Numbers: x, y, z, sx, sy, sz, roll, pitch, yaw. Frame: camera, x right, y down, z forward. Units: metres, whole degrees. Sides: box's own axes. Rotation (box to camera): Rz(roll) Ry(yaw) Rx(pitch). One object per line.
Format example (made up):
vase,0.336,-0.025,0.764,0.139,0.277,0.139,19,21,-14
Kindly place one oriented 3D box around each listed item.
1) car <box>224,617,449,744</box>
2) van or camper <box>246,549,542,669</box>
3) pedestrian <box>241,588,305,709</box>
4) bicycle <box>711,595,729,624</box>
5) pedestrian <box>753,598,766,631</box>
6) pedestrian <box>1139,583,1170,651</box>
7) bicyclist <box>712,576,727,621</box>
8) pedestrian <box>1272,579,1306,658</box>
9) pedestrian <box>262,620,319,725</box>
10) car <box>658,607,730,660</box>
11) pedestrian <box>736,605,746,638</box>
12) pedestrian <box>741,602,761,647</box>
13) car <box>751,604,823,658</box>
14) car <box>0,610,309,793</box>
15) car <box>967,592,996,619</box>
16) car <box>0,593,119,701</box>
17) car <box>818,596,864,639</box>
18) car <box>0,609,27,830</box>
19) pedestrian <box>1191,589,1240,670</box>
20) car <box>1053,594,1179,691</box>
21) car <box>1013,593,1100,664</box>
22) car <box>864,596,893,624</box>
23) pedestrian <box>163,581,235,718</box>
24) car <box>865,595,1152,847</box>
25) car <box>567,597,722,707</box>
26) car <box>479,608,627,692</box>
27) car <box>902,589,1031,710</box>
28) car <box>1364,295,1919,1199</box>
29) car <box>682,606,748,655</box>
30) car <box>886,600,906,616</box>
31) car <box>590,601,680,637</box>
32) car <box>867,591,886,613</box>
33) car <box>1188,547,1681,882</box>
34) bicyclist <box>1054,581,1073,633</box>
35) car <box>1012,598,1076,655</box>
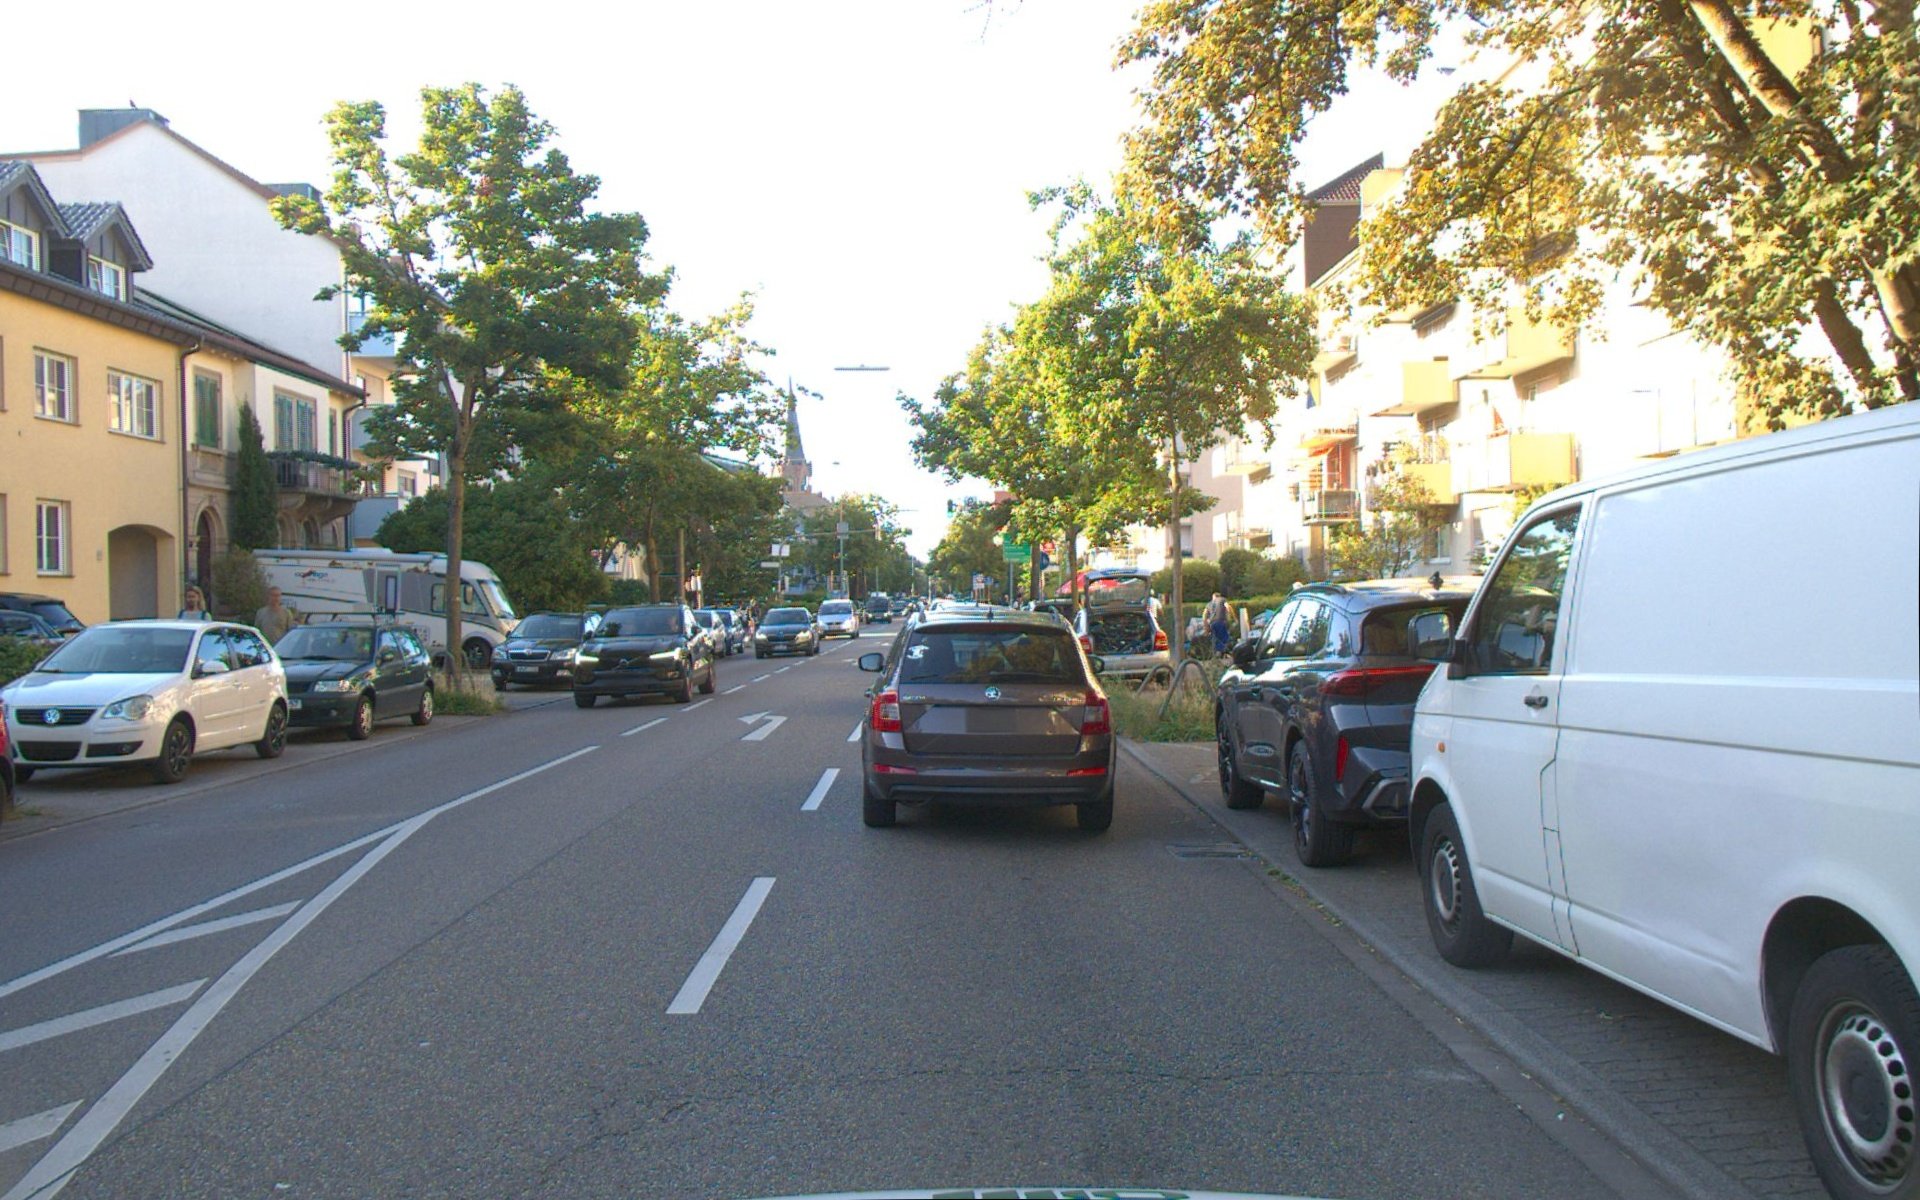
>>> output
car,-7.853,0.964,21.162,1.511,1.421,3.665,-1,0,-1
van or camper,-14.319,0.233,42.174,6.660,2.821,2.351,1,0,-2
pedestrian,-10.553,0.739,25.408,0.699,1.824,0.572,-1,0,2
bicycle,-9.141,0.373,62.905,0.476,1.083,1.534,-1,0,-1
pedestrian,-11.162,0.793,92.065,0.603,1.828,0.504,-1,0,0
pedestrian,5.197,0.462,44.215,0.649,1.779,0.772,-3,0,-2
bicyclist,-9.126,-0.040,62.826,0.459,1.692,0.552,-1,0,-2
pedestrian,7.065,0.387,35.520,0.467,1.668,0.533,-1,0,-20
pedestrian,-9.959,1.069,24.610,0.577,1.522,0.542,-1,0,2
car,-7.982,0.986,49.925,1.561,1.496,3.803,1,0,-1
pedestrian,-12.273,1.224,92.557,0.440,1.828,0.504,-1,0,0
pedestrian,-9.552,1.125,75.445,0.764,2.022,0.821,-1,0,0
car,-5.311,0.931,51.251,1.725,1.477,4.533,-3,0,-1
car,-7.957,0.902,16.391,1.561,1.550,3.889,-1,0,-2
car,1.536,0.373,116.671,1.952,1.803,4.001,1,0,2
car,-16.139,0.721,26.921,3.905,1.664,1.866,1,0,0
car,-5.341,0.772,74.797,1.769,1.836,4.744,-3,0,-1
car,-7.579,0.853,10.235,1.560,1.550,3.437,-1,0,2
pedestrian,5.384,0.619,34.841,0.742,1.668,0.693,-1,0,36
car,2.675,0.702,29.246,1.674,1.506,4.267,-3,0,-1
car,2.363,0.687,41.501,1.818,1.609,4.012,-3,0,-1
car,-6.041,0.701,123.248,1.953,1.942,4.962,-3,0,-1
pedestrian,-10.313,0.665,22.425,0.699,1.824,0.506,-1,0,2
car,0.253,0.731,12.142,1.737,1.515,4.310,0,0,-1
car,-5.147,0.813,27.500,1.798,1.597,3.999,-3,0,-1
car,-7.950,0.925,32.735,1.829,1.521,4.516,1,0,-1
car,0.094,0.663,24.077,1.701,1.598,4.000,1,0,0
car,2.916,0.406,5.403,1.865,2.140,4.638,-1,0,-2
car,-8.031,0.967,54.510,1.615,1.544,4.073,0,0,-1
car,-6.512,0.799,168.465,1.793,1.607,3.999,-1,0,-1
car,-17.670,1.027,90.077,4.540,1.843,1.861,-1,0,-1
car,-9.564,0.213,189.125,1.953,2.521,3.999,-1,0,-1
car,2.782,0.597,10.801,1.818,1.631,4.310,-4,0,-1
bicyclist,3.610,0.241,57.670,0.569,1.820,0.852,-1,0,-1
car,2.361,0.717,47.280,1.668,1.475,4.014,-3,0,1
